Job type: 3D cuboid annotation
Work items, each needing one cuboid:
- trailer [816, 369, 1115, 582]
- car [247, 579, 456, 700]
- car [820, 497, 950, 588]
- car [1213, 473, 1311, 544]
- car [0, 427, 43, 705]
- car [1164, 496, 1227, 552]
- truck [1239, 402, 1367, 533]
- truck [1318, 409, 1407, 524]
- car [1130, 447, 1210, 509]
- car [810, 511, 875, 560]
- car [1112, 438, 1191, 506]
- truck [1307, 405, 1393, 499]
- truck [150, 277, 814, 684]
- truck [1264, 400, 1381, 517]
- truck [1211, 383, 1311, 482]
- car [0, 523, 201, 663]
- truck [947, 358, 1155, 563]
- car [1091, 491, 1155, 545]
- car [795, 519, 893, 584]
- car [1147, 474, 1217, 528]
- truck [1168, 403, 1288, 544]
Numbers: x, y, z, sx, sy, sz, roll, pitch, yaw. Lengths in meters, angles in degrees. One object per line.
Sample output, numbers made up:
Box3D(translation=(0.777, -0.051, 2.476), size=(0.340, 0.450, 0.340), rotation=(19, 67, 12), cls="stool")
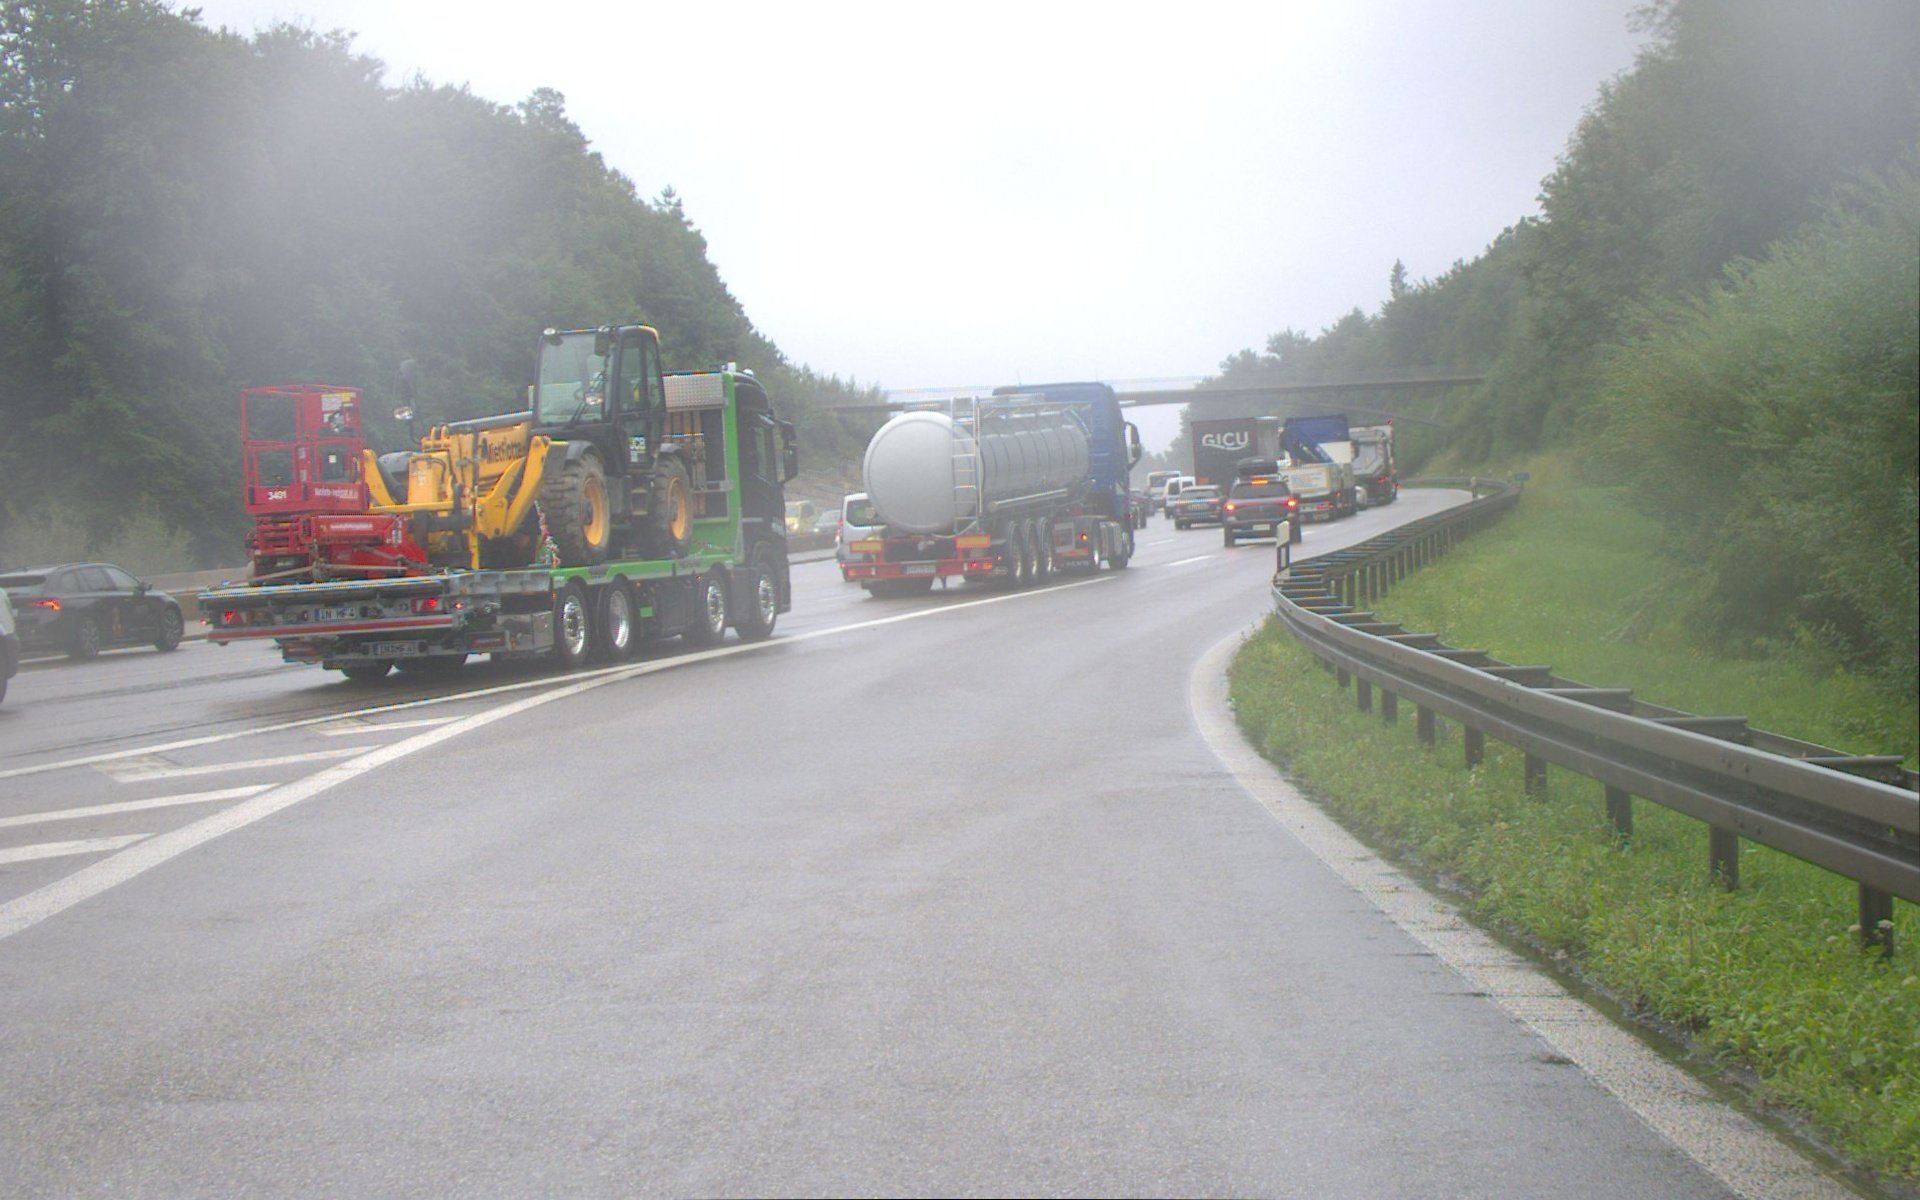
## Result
Box3D(translation=(0.297, -2.210, 60.001), size=(2.875, 3.277, 10.073), rotation=(-3, 2, 13), cls="trailer")
Box3D(translation=(-9.249, 0.563, 52.524), size=(1.786, 1.721, 3.998), rotation=(1, 1, 11), cls="car")
Box3D(translation=(-1.514, -1.217, 71.112), size=(1.820, 1.761, 3.998), rotation=(-2, 2, 11), cls="car")
Box3D(translation=(7.329, -2.198, 83.152), size=(1.994, 1.630, 3.998), rotation=(1, 1, 10), cls="car")
Box3D(translation=(-10.646, -0.208, 30.455), size=(2.216, 2.620, 5.840), rotation=(-2, 1, 14), cls="car")
Box3D(translation=(8.214, -2.635, 119.556), size=(1.798, 1.897, 3.998), rotation=(0, 1, 9), cls="car")
Box3D(translation=(11.912, -4.573, 118.481), size=(3.601, 4.090, 11.557), rotation=(-3, 2, 9), cls="truck")
Box3D(translation=(21.207, -6.920, 180.626), size=(4.337, 5.744, 9.728), rotation=(1, 1, 8), cls="truck")
Box3D(translation=(10.791, -6.200, 176.134), size=(3.248, 2.992, 6.770), rotation=(1, 1, 10), cls="car")
Box3D(translation=(-5.112, -2.822, 150.020), size=(1.994, 2.007, 3.999), rotation=(-2, 1, 10), cls="car")
Box3D(translation=(9.056, -5.985, 161.825), size=(3.096, 2.992, 6.771), rotation=(1, 1, 8), cls="car")
Box3D(translation=(18.062, -6.758, 158.720), size=(3.756, 3.957, 11.056), rotation=(1, 1, 7), cls="truck")
Box3D(translation=(-4.677, -1.293, 37.402), size=(2.833, 3.576, 11.791), rotation=(-3, 1, 14), cls="truck")
Box3D(translation=(14.270, -5.442, 134.426), size=(3.509, 4.253, 10.598), rotation=(1, 1, 11), cls="truck")
Box3D(translation=(14.318, -7.848, 162.705), size=(3.578, 4.081, 10.875), rotation=(-2, 0, 10), cls="truck")
Box3D(translation=(-13.085, -0.129, 51.399), size=(1.799, 2.007, 3.998), rotation=(1, 1, 13), cls="car")
Box3D(translation=(1.826, -2.702, 66.638), size=(2.878, 3.680, 5.054), rotation=(-2, 2, 13), cls="truck")
Box3D(translation=(6.155, -3.080, 129.484), size=(1.798, 1.897, 3.998), rotation=(-3, 0, 10), cls="car")
Box3D(translation=(-3.360, -1.437, 100.411), size=(1.994, 1.766, 4.133), rotation=(-2, 1, 10), cls="car")
Box3D(translation=(12.889, -5.697, 199.377), size=(3.248, 2.992, 6.770), rotation=(1, 1, 10), cls="car")
Box3D(translation=(11.016, -5.061, 140.461), size=(3.756, 5.480, 10.168), rotation=(1, 1, 11), cls="truck")
